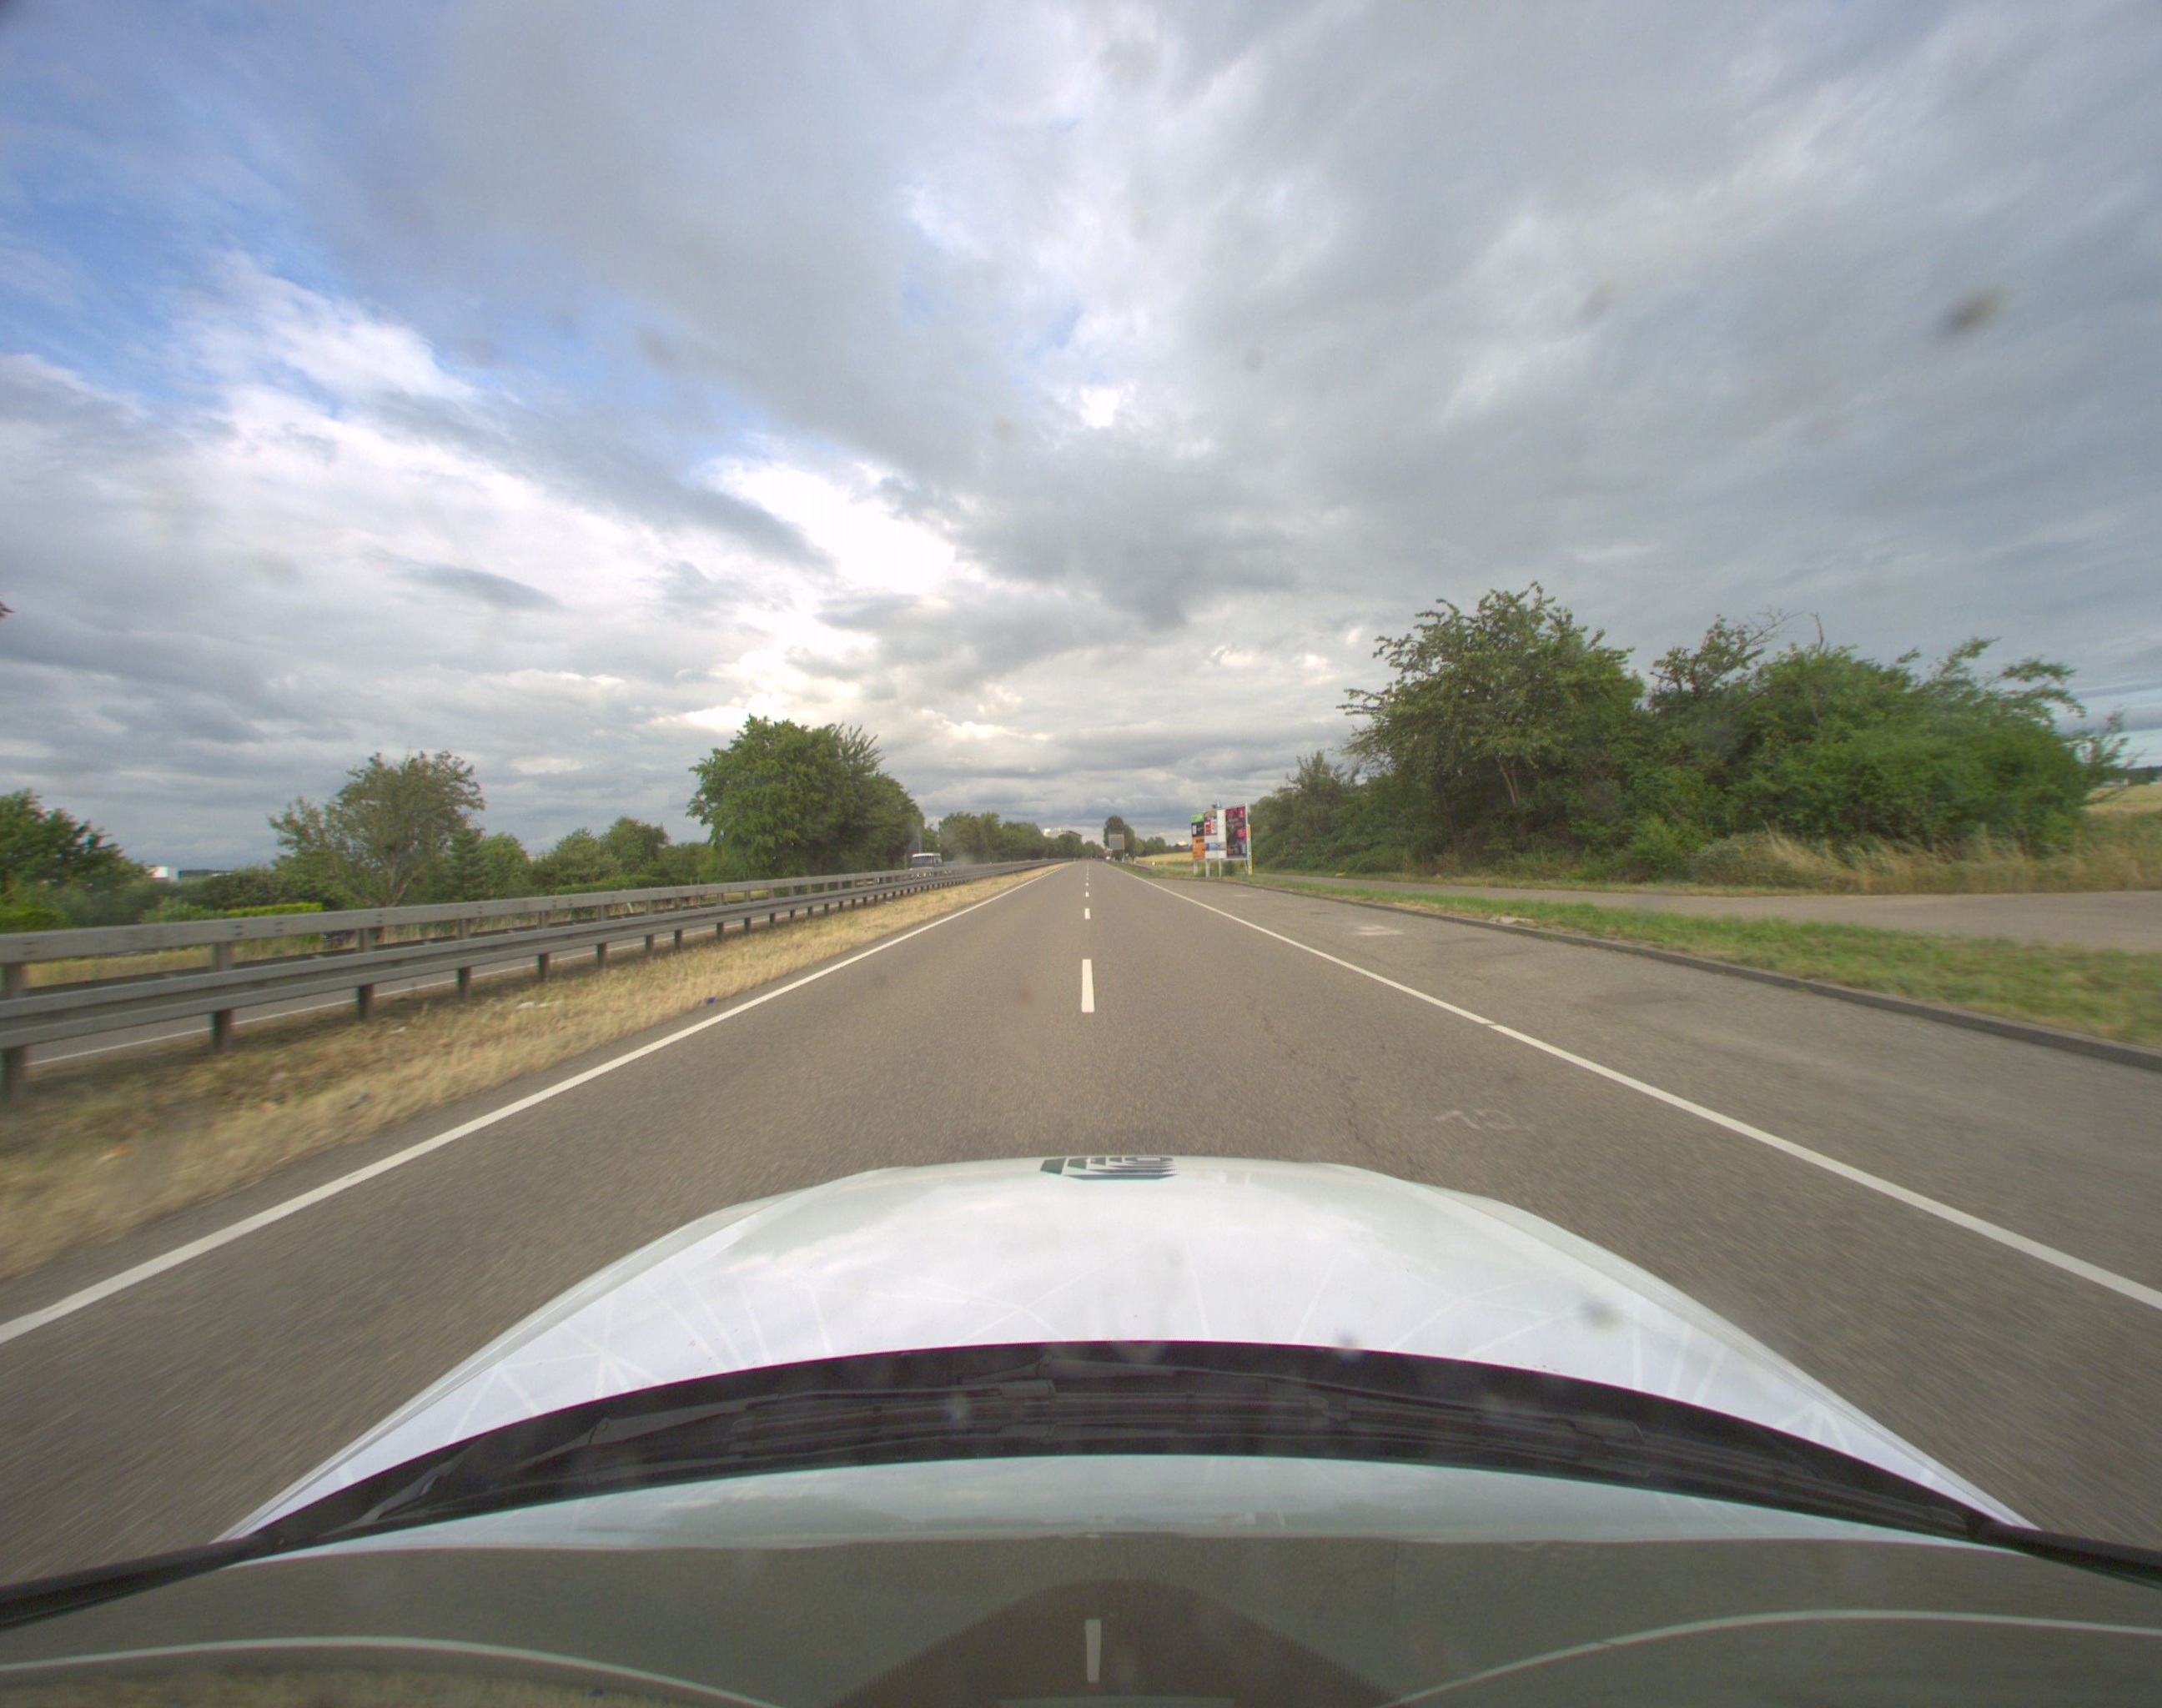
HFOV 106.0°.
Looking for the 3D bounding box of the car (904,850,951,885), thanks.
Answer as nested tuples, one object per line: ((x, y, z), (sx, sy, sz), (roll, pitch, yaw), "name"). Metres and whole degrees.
((-10.564, 0.890, 56.325), (1.986, 2.140, 5.321), (-3, 0, 2), "car")

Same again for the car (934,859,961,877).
((-13.846, 1.424, 84.719), (1.791, 1.625, 4.485), (-3, 0, 2), "car")
